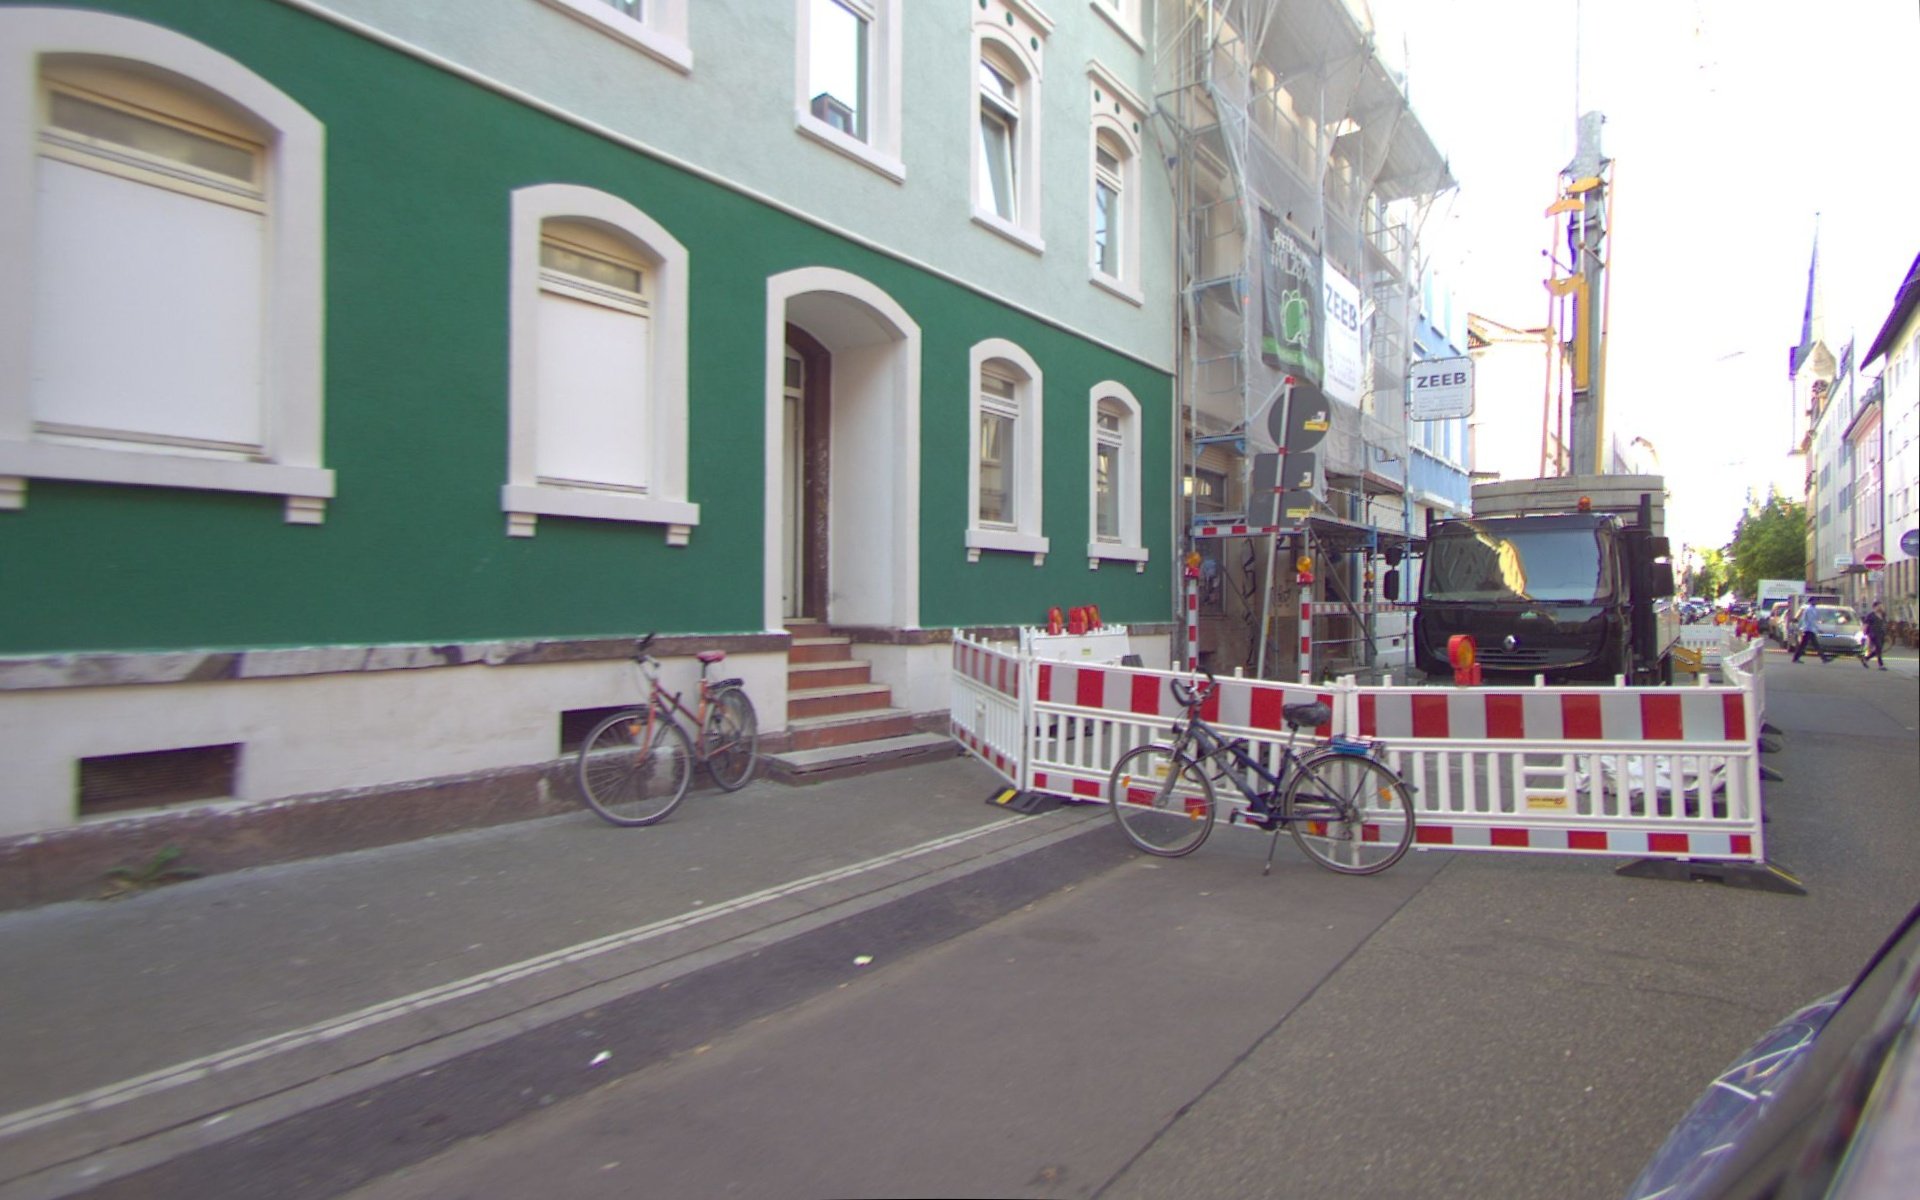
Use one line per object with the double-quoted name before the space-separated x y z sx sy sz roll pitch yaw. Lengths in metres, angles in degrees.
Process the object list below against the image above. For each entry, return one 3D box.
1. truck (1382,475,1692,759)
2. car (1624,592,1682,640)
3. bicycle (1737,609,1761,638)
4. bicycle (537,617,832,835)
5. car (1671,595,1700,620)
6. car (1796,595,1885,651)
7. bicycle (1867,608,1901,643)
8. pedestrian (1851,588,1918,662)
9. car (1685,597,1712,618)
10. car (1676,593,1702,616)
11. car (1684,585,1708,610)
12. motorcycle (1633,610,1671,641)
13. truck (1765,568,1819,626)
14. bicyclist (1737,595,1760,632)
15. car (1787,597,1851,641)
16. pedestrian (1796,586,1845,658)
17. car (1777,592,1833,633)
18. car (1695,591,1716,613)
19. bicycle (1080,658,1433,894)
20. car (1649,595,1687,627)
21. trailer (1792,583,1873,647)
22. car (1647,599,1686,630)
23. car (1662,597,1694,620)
"truck" 8.224 0.161 13.878 2.655 2.850 7.292 -1 -1 38
"car" 28.755 0.613 41.934 1.744 1.839 4.311 2 1 37
"bicycle" 31.888 0.917 40.909 0.707 1.125 1.907 0 0 39
"bicycle" -1.731 0.726 6.627 0.654 1.142 1.809 5 3 37
"car" 54.502 0.515 76.004 1.705 1.752 4.164 2 2 37
"car" 27.883 0.693 32.166 1.717 1.625 4.112 2 1 36
"bicycle" 31.241 0.854 34.222 0.573 1.153 1.444 -2 -1 32
"pedestrian" 23.739 0.626 26.004 0.816 1.815 0.986 2 2 13
"car" 74.696 0.703 102.454 1.986 2.039 4.509 -1 0 34
"car" 61.676 0.392 85.594 1.705 1.835 4.164 2 1 37
"car" 84.656 -0.307 116.447 1.986 2.828 4.509 -1 -1 34
"motorcycle" 26.860 0.979 39.269 1.962 1.100 0.720 -1 2 -42
"truck" 48.785 -0.223 59.428 2.287 3.223 6.946 1 1 38
"bicyclist" 31.845 0.532 40.882 0.707 1.454 0.778 0 0 40
"car" 34.046 0.703 40.167 1.673 1.574 3.767 2 2 37
"pedestrian" 23.078 0.586 27.148 0.765 1.873 0.772 -1 -1 -33
"car" 40.192 0.548 48.191 1.798 1.868 4.187 1 1 37
"car" 100.682 0.258 136.765 1.986 2.828 4.509 -1 -1 34
"bicycle" 1.671 0.926 5.835 1.840 1.124 0.636 -1 -1 32
"car" 42.606 0.622 60.837 1.705 1.752 4.349 2 2 37
"trailer" 30.509 0.470 35.502 1.656 2.086 4.309 2 1 35
"car" 38.333 0.747 54.884 1.612 1.523 3.722 2 2 37
"car" 47.268 0.545 66.572 1.605 1.413 3.829 2 2 37
